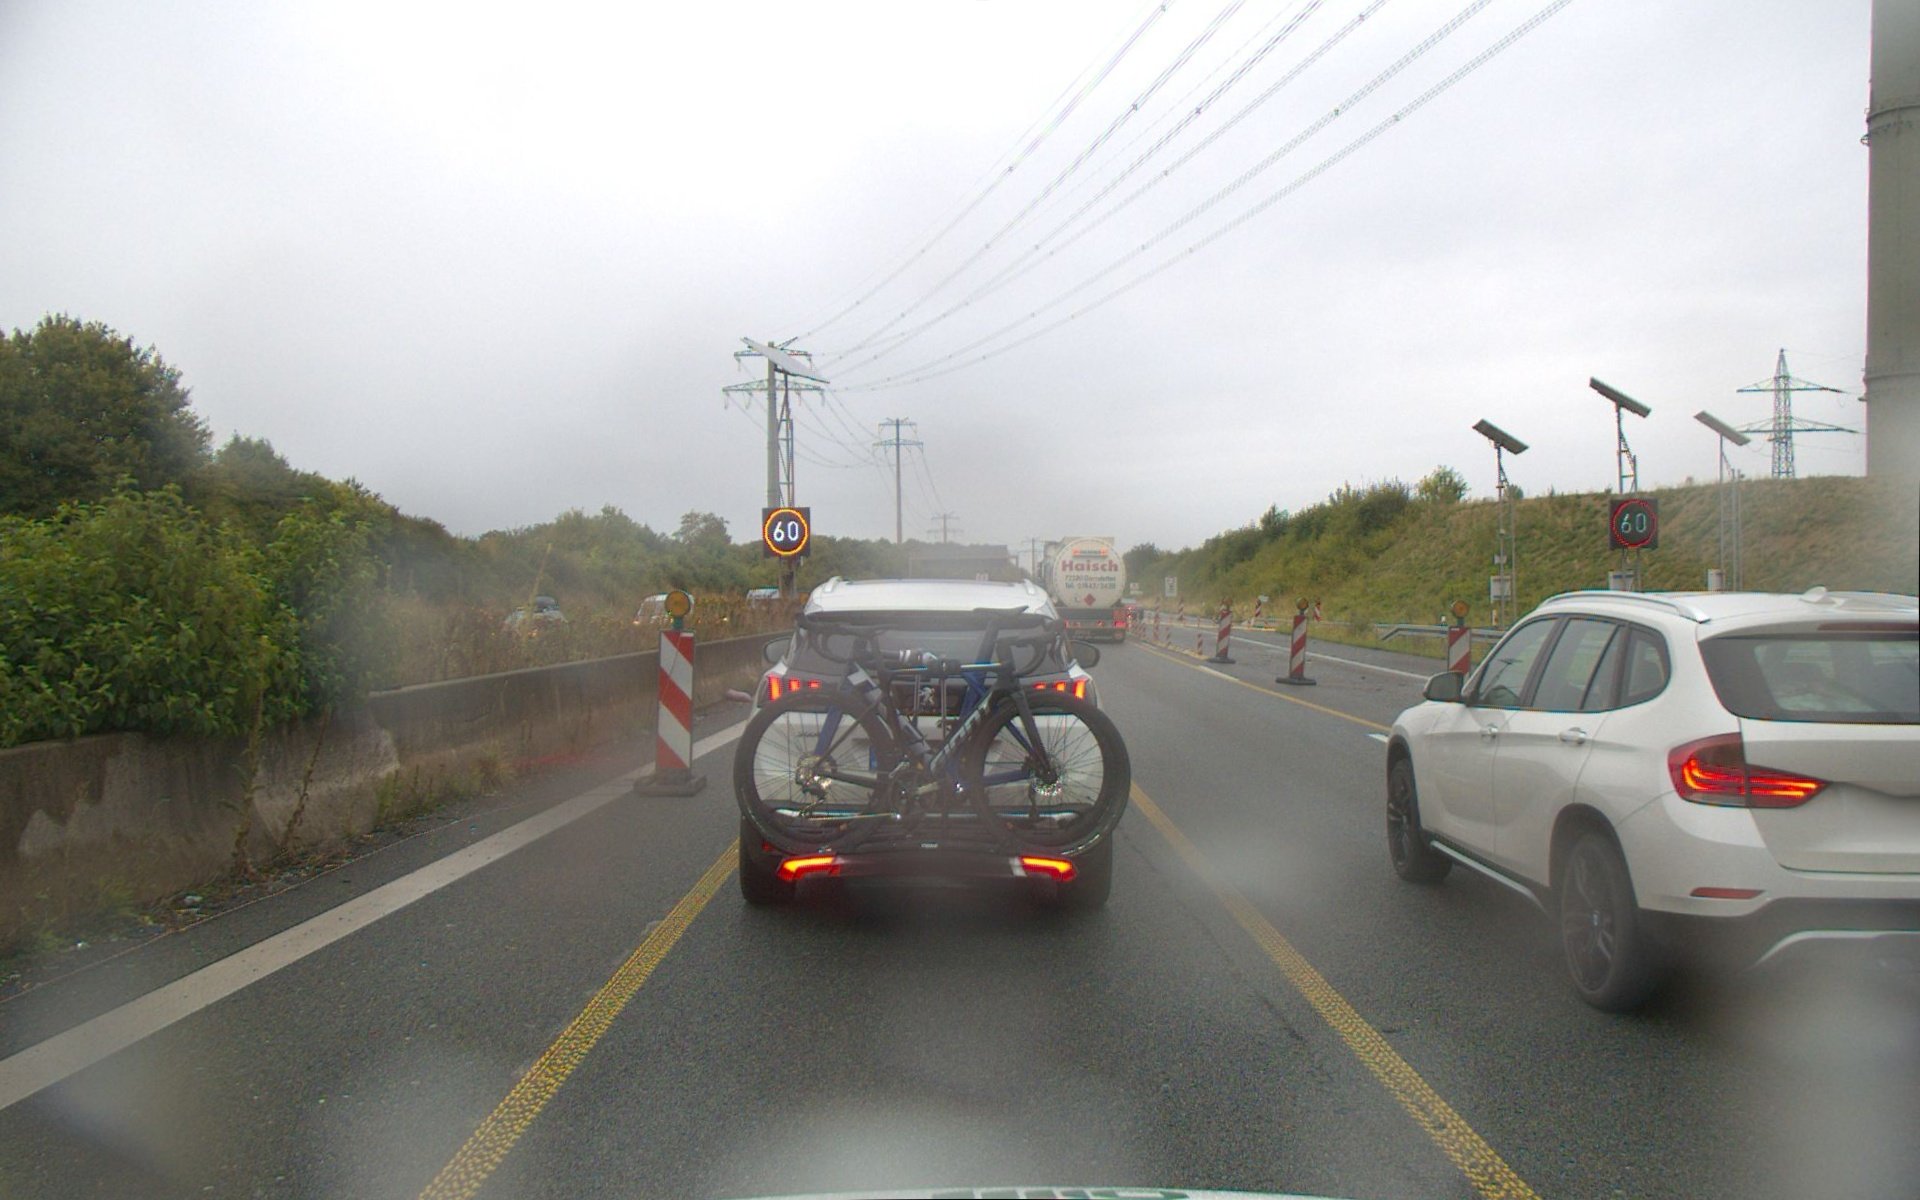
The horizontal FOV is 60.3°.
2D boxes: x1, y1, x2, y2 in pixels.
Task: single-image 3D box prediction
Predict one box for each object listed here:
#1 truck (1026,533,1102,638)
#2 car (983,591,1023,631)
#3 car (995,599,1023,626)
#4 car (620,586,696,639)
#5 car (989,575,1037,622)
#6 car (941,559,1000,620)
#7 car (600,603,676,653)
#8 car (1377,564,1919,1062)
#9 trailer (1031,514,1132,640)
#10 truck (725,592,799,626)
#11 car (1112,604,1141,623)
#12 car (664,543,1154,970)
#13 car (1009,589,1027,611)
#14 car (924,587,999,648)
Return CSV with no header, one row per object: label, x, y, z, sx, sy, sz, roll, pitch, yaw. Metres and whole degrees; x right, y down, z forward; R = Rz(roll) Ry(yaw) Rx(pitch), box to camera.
truck,4.033,-0.534,64.764,2.591,3.959,4.029,1,-1,-1
car,2.304,0.578,88.631,1.953,2.049,3.999,1,-1,-1
car,3.750,0.951,128.101,1.953,2.049,3.999,1,-1,-1
car,-10.913,0.446,59.974,1.953,1.833,4.000,1,-1,0
car,2.411,-0.101,75.742,1.953,2.049,3.999,-1,1,-1
car,0.338,-0.356,58.830,1.953,2.049,3.999,-1,0,-1
car,-11.632,0.995,60.041,1.829,1.678,4.001,-1,1,2
car,3.282,0.662,7.293,1.832,1.561,4.196,0,0,0
trailer,4.120,-0.696,58.190,2.584,3.961,10.541,1,0,-1
truck,-15.239,0.687,127.602,1.959,2.470,6.413,-1,1,34
car,10.974,0.885,109.137,1.452,1.181,3.906,-1,0,-1
car,-0.140,0.597,8.716,1.888,1.639,4.596,0,0,1
car,5.574,-0.007,158.599,1.619,2.049,4.002,0,0,3
car,0.006,0.450,45.427,1.953,1.611,3.999,0,0,-1
